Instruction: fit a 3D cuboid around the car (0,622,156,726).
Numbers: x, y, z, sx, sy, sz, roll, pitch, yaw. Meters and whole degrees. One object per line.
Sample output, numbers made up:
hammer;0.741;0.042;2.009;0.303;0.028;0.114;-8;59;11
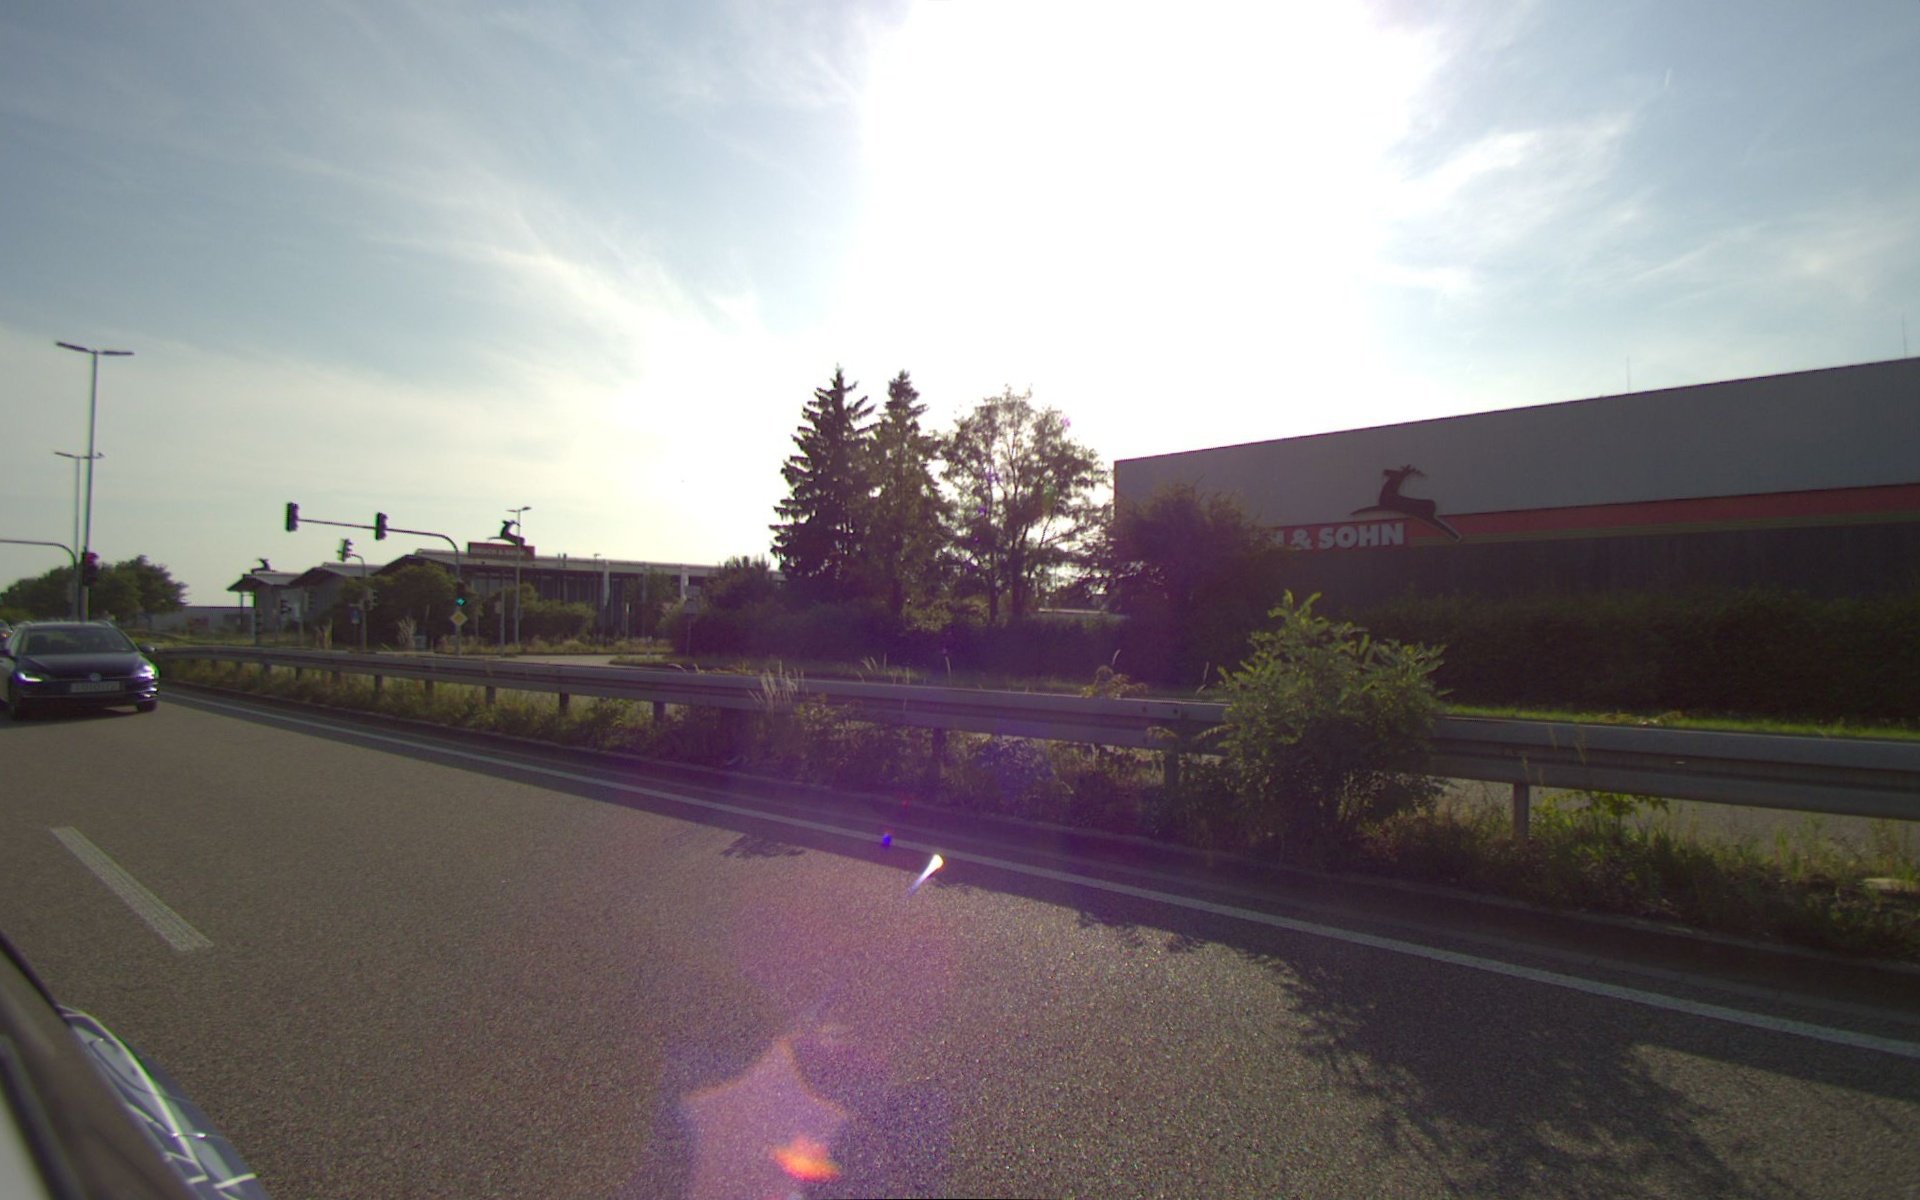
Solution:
car;-14.778;1.114;16.642;4.774;1.482;1.629;-2;-2;42

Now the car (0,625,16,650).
car;-56.945;2.227;59.598;3.563;1.448;1.689;-2;-2;41
